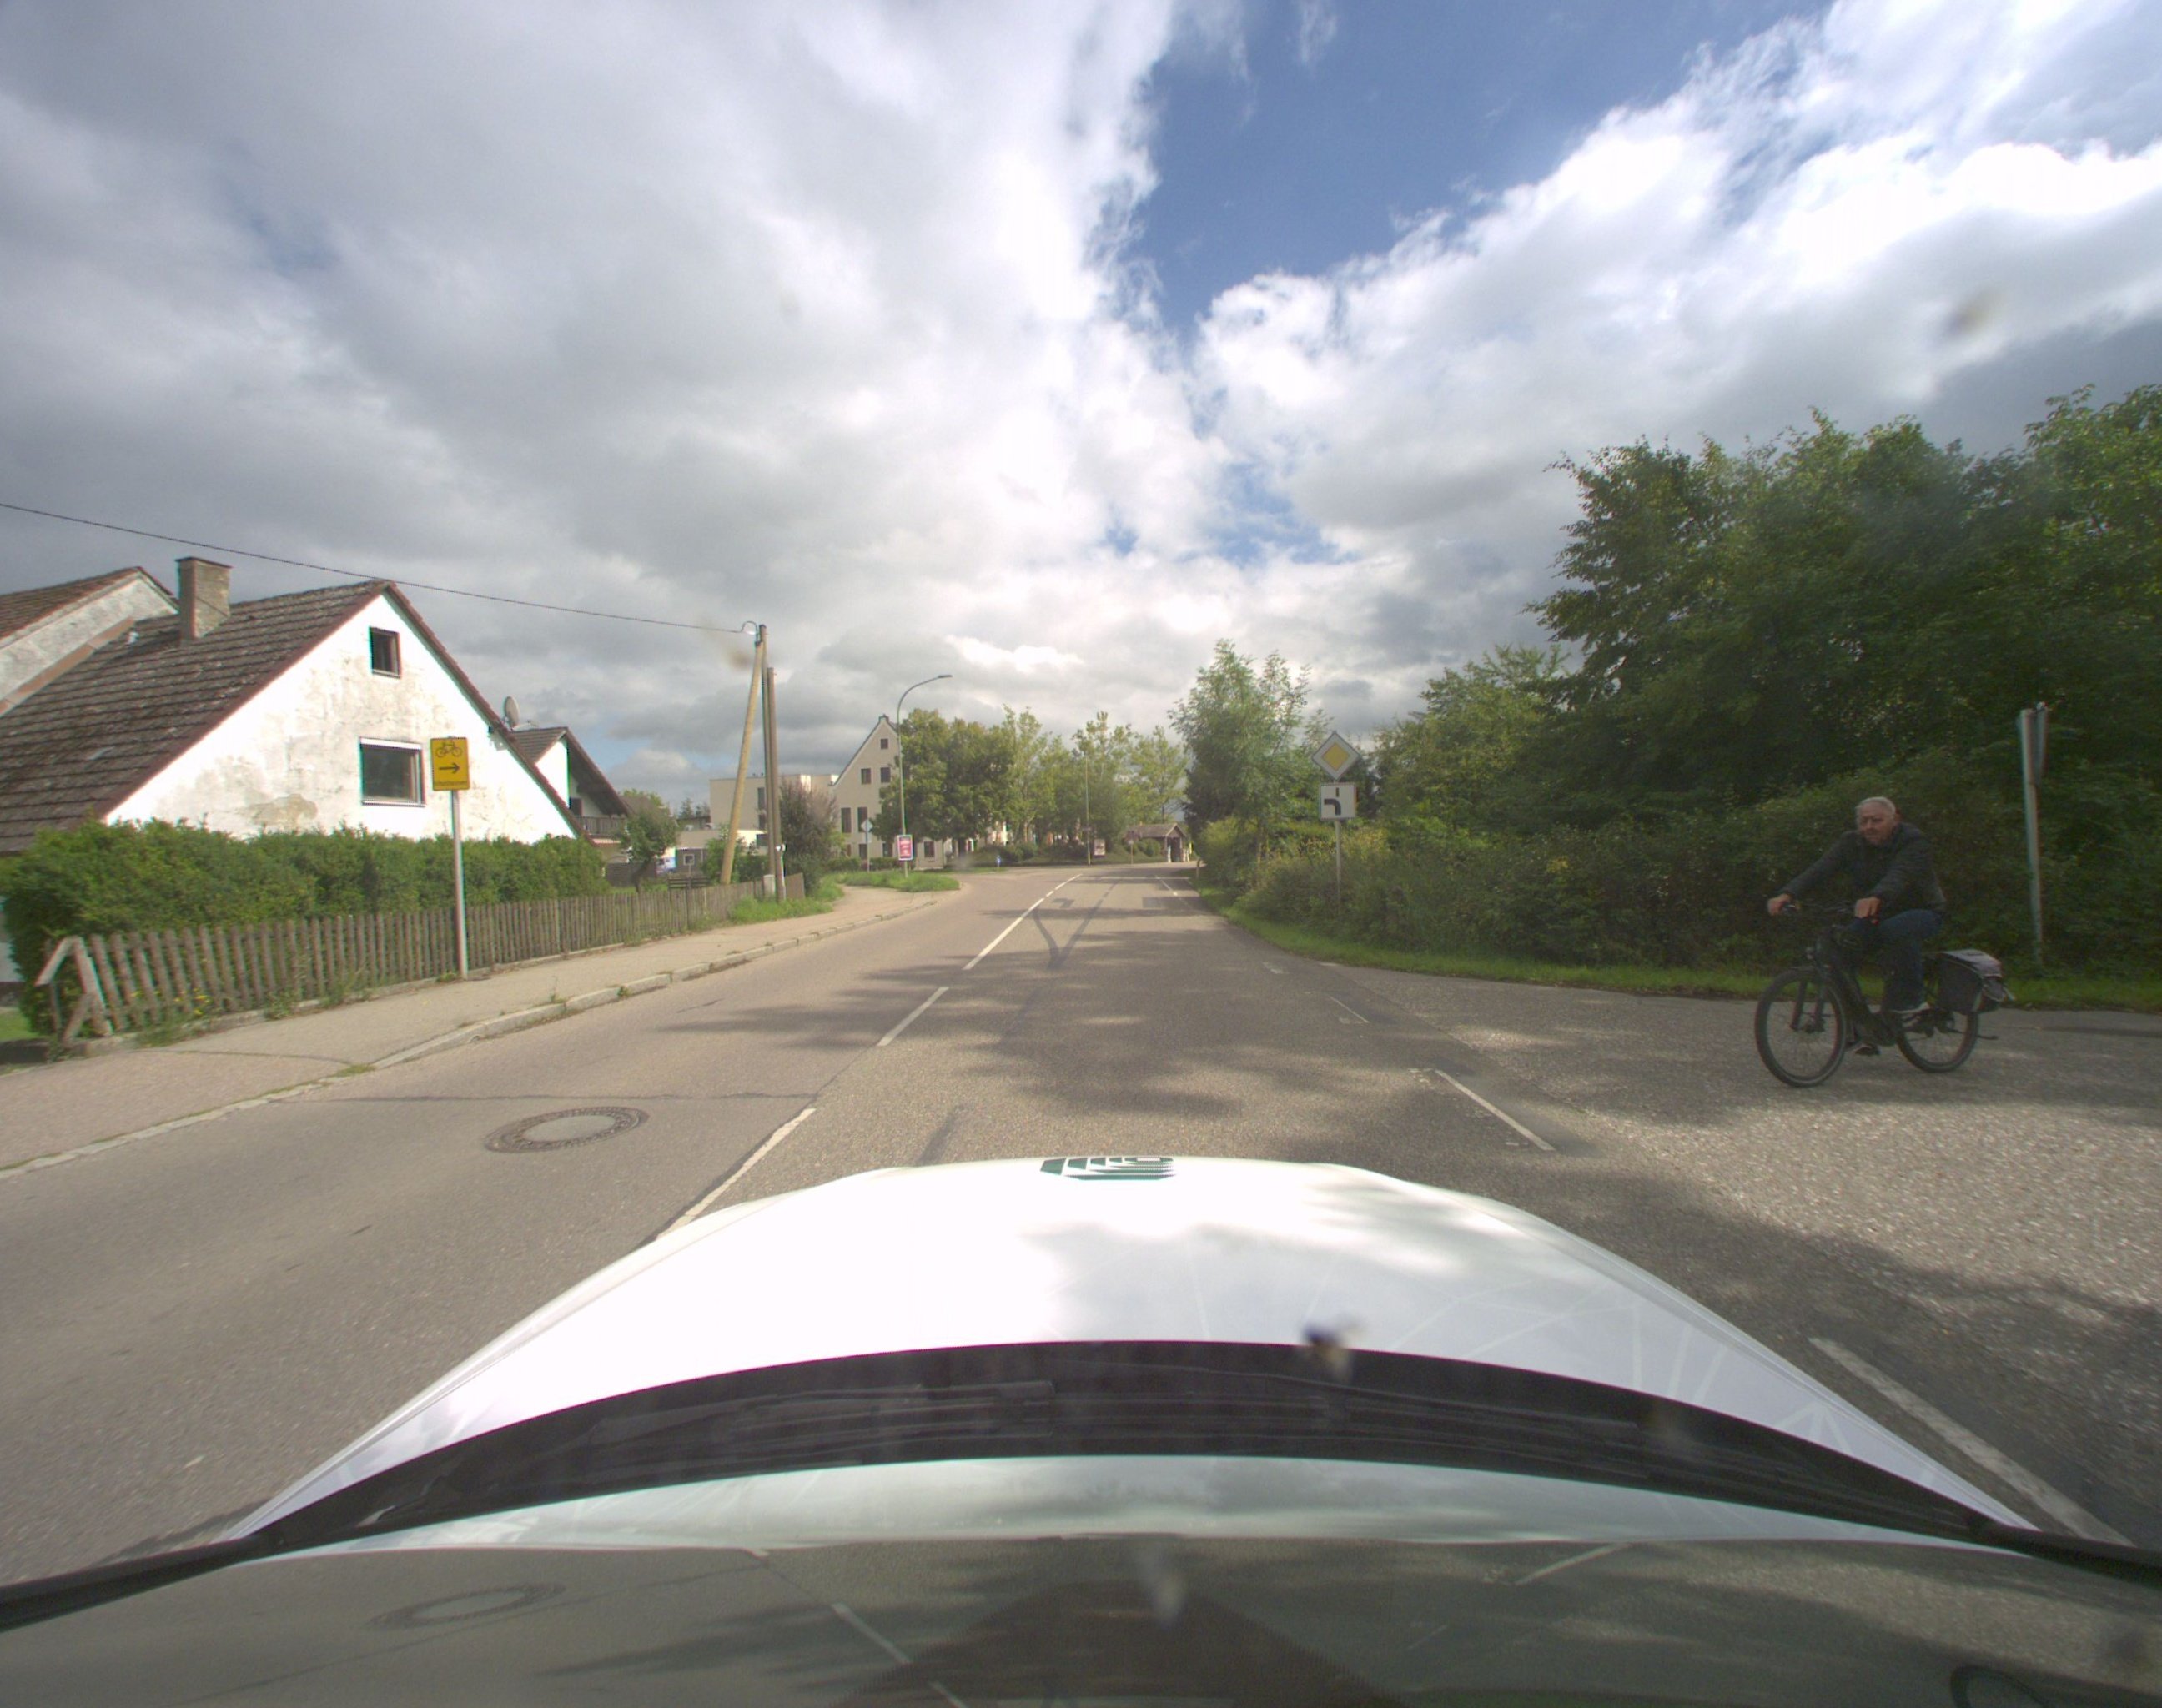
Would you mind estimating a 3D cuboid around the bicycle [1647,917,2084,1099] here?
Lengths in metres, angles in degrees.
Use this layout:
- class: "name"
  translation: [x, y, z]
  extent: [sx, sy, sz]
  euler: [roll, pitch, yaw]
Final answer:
- class: "bicycle"
  translation: [5.039, 0.922, 5.311]
  extent: [2.117, 0.864, 1.050]
  euler: [-1, 0, -12]

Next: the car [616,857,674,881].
- class: "car"
  translation: [-40.743, 1.388, 76.243]
  extent: [1.979, 2.013, 4.919]
  euler: [-2, 0, 14]

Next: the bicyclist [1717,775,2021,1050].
- class: "bicyclist"
  translation: [5.072, 0.331, 5.320]
  extent: [1.018, 1.585, 1.050]
  euler: [0, 0, -12]
